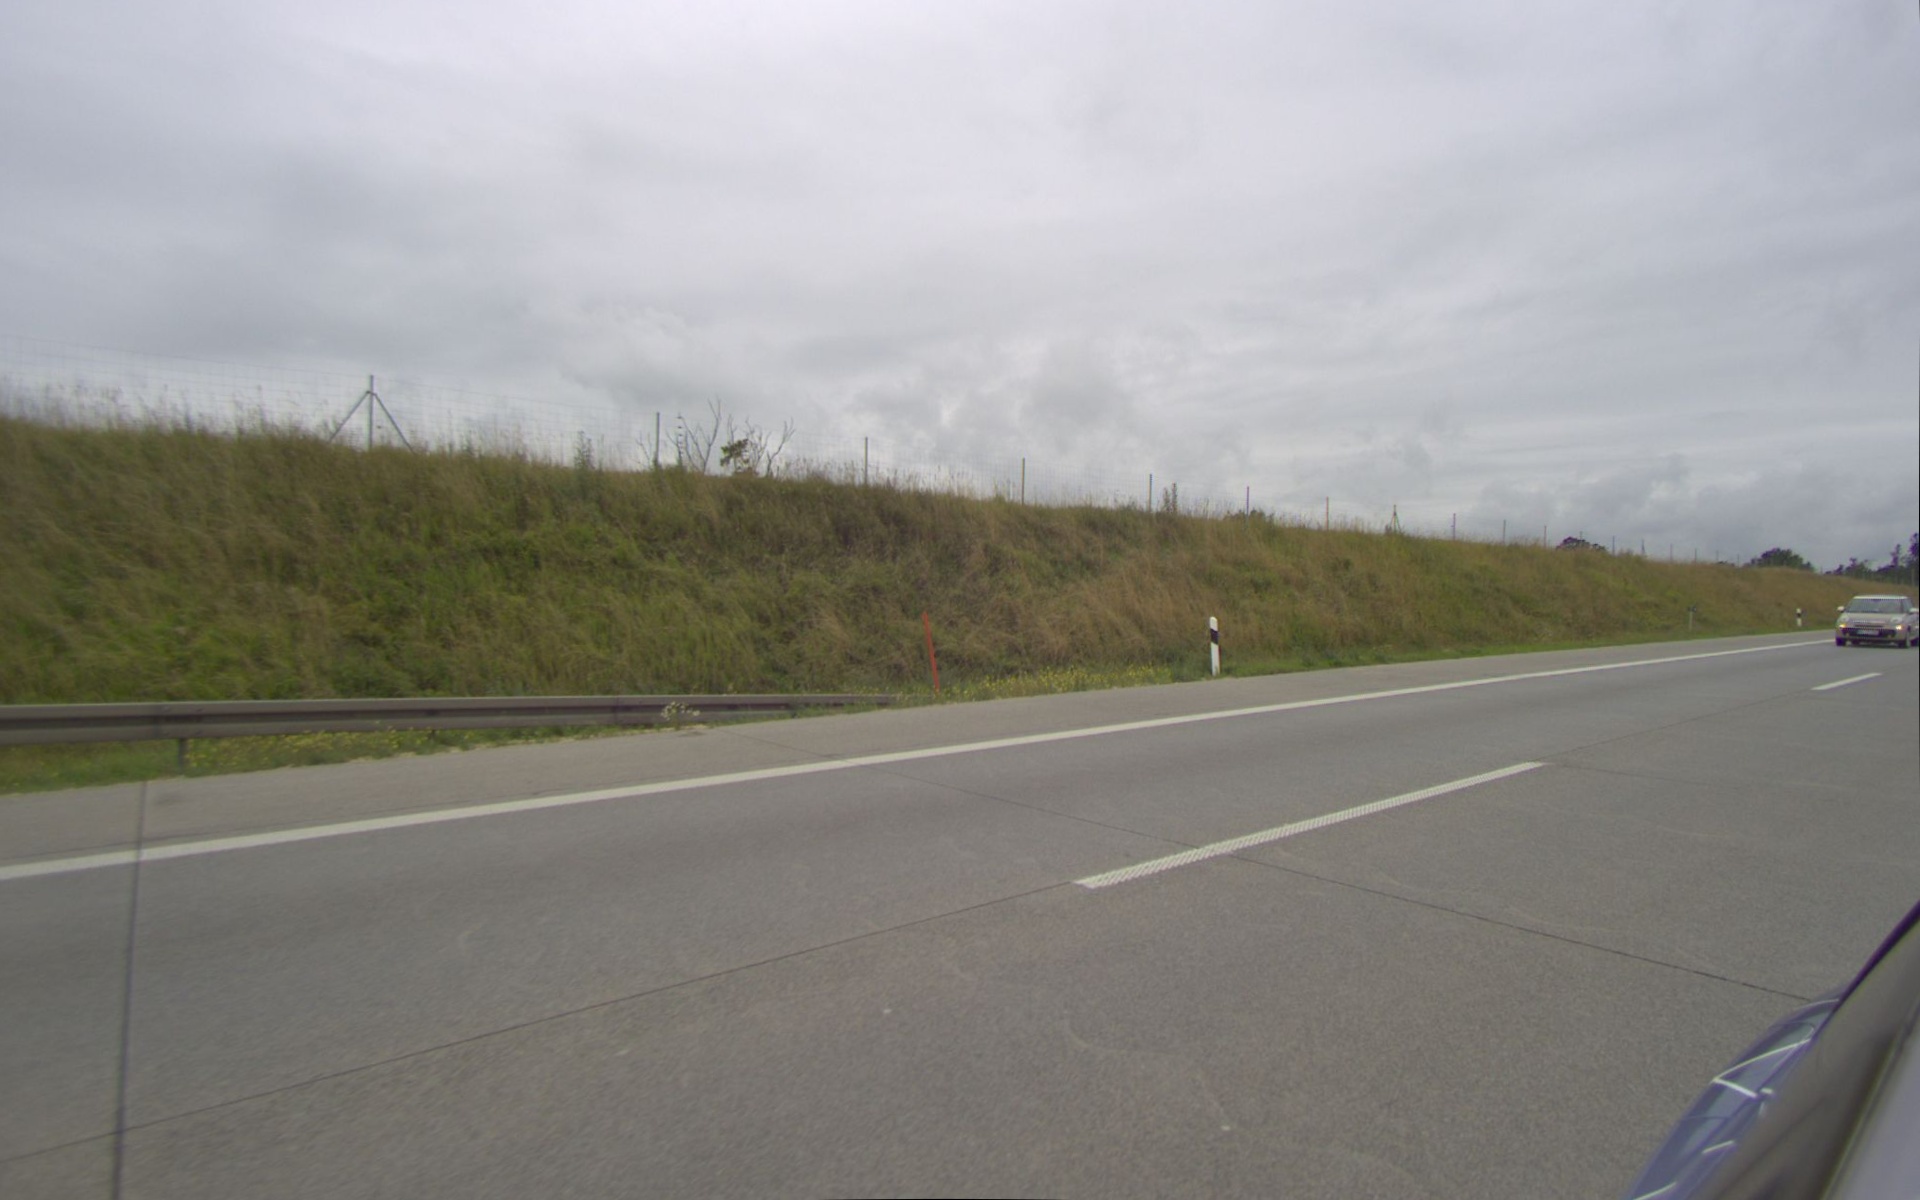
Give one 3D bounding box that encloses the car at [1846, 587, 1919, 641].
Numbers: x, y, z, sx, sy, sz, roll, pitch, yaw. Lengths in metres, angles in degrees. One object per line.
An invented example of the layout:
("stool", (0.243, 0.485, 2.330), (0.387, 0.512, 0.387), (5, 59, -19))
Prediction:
("car", (30.374, 0.438, 32.823), (4.489, 1.625, 1.789), (1, 0, -40))
